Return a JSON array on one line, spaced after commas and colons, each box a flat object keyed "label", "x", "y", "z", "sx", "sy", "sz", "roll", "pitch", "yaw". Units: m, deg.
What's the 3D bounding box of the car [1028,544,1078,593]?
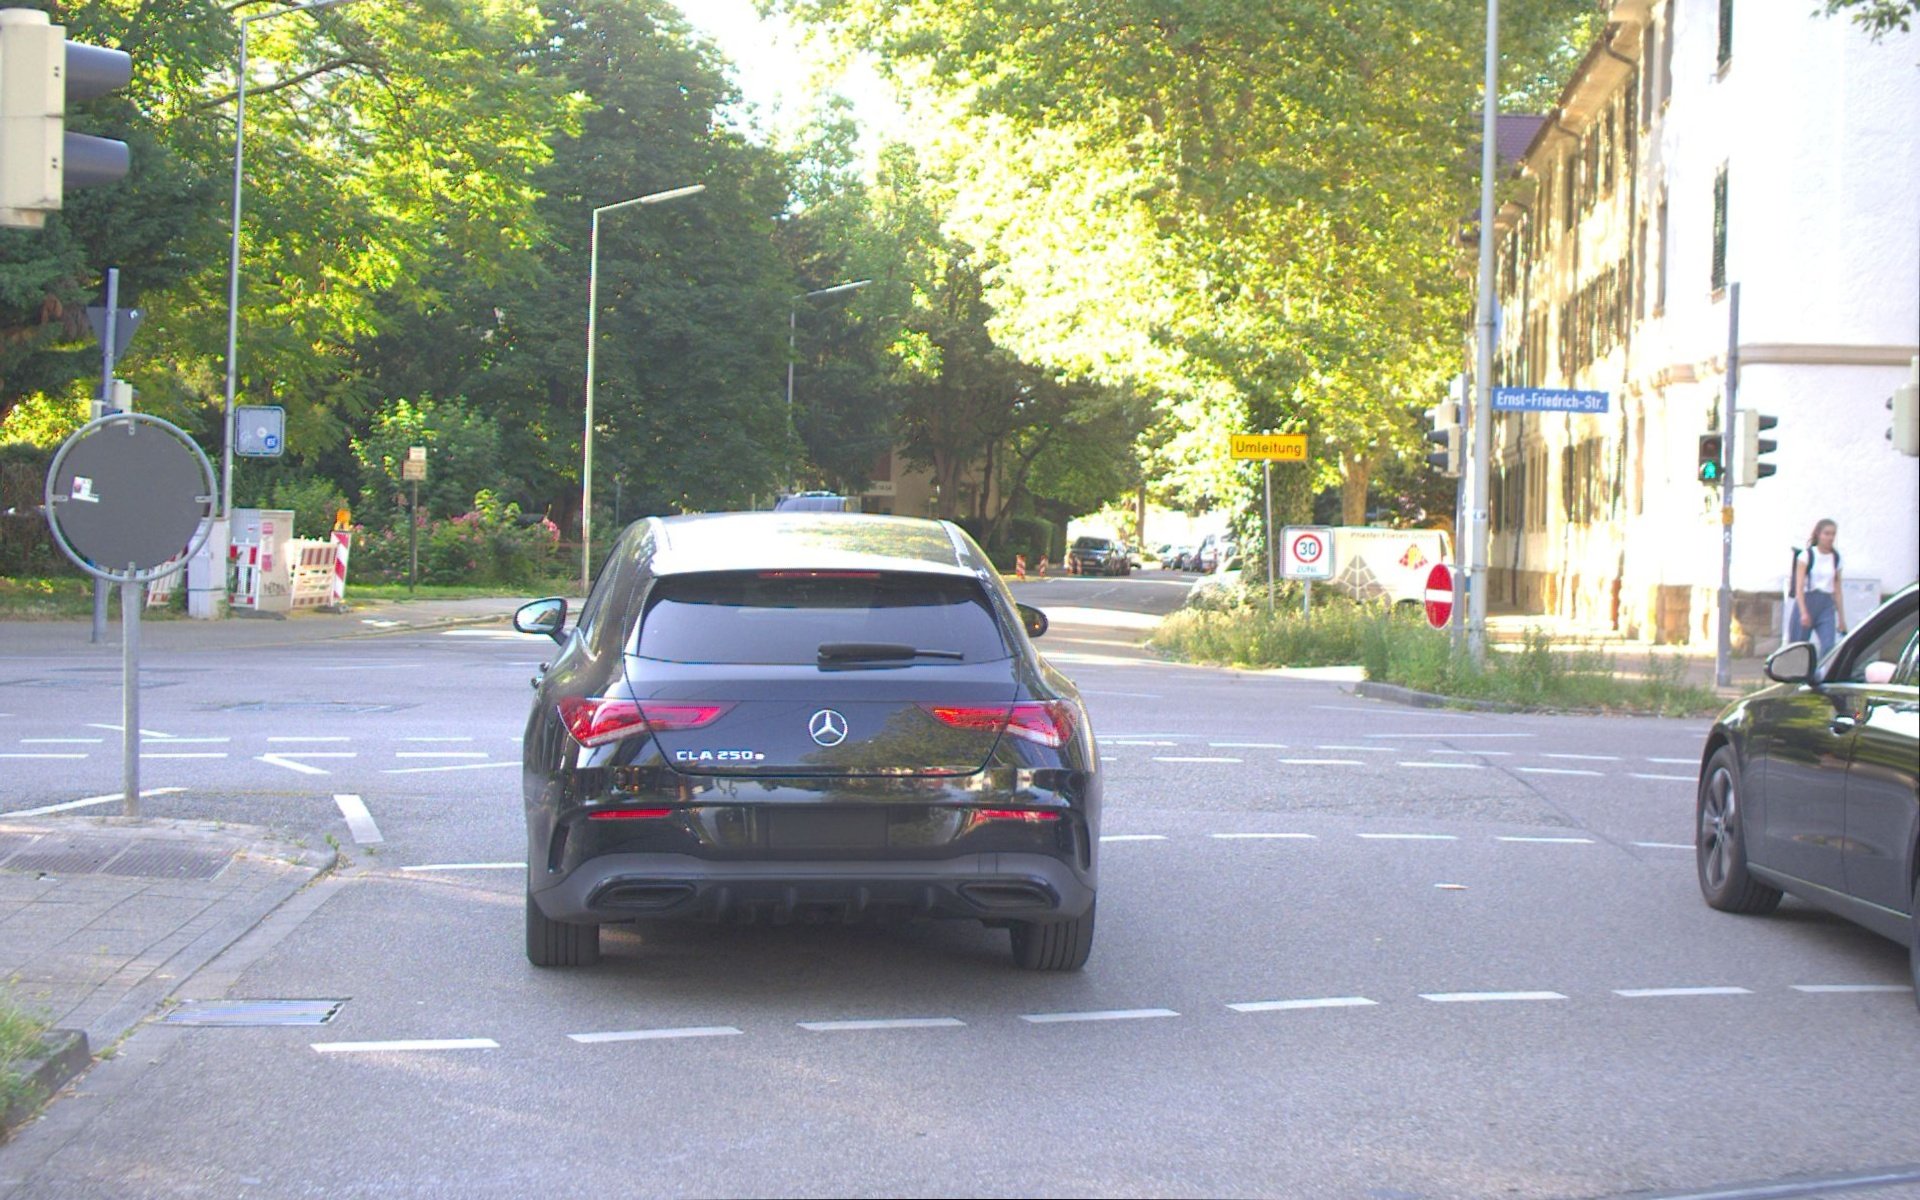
[{"label": "car", "x": 3.513, "y": -1.179, "z": 129.728, "sx": 1.734, "sy": 1.759, "sz": 4.018, "roll": 2, "pitch": 1, "yaw": 3}]

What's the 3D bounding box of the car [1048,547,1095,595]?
[{"label": "car", "x": 4.389, "y": -1.130, "z": 134.639, "sx": 1.734, "sy": 1.759, "sz": 4.018, "roll": 2, "pitch": 1, "yaw": 3}]

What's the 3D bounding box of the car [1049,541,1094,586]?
[{"label": "car", "x": 4.647, "y": -1.518, "z": 142.717, "sx": 1.734, "sy": 1.759, "sz": 4.018, "roll": 2, "pitch": 1, "yaw": 3}]

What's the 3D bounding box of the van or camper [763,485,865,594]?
[{"label": "van or camper", "x": -3.548, "y": -1.467, "z": 84.369, "sx": 1.994, "sy": 2.532, "sz": 4.650, "roll": 2, "pitch": 0, "yaw": 3}]

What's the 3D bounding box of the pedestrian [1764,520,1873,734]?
[{"label": "pedestrian", "x": 7.881, "y": 0.242, "z": 31.589, "sx": 0.705, "sy": 1.911, "sz": 0.839, "roll": 2, "pitch": 0, "yaw": -1}]

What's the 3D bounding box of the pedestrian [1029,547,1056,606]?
[{"label": "pedestrian", "x": 2.752, "y": -0.779, "z": 114.344, "sx": 0.705, "sy": 1.911, "sz": 0.839, "roll": 2, "pitch": 0, "yaw": -7}]

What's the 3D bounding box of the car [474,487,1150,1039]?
[{"label": "car", "x": -0.586, "y": 0.412, "z": 11.865, "sx": 1.889, "sy": 1.445, "sz": 4.001, "roll": 2, "pitch": 3, "yaw": -5}]

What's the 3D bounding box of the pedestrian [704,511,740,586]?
[{"label": "pedestrian", "x": -6.188, "y": -1.325, "z": 89.349, "sx": 0.705, "sy": 1.911, "sz": 0.839, "roll": 2, "pitch": 0, "yaw": 9}]

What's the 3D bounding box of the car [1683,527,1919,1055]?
[{"label": "car", "x": 3.846, "y": 0.603, "z": 11.386, "sx": 1.889, "sy": 1.485, "sz": 4.382, "roll": 2, "pitch": 3, "yaw": 0}]
